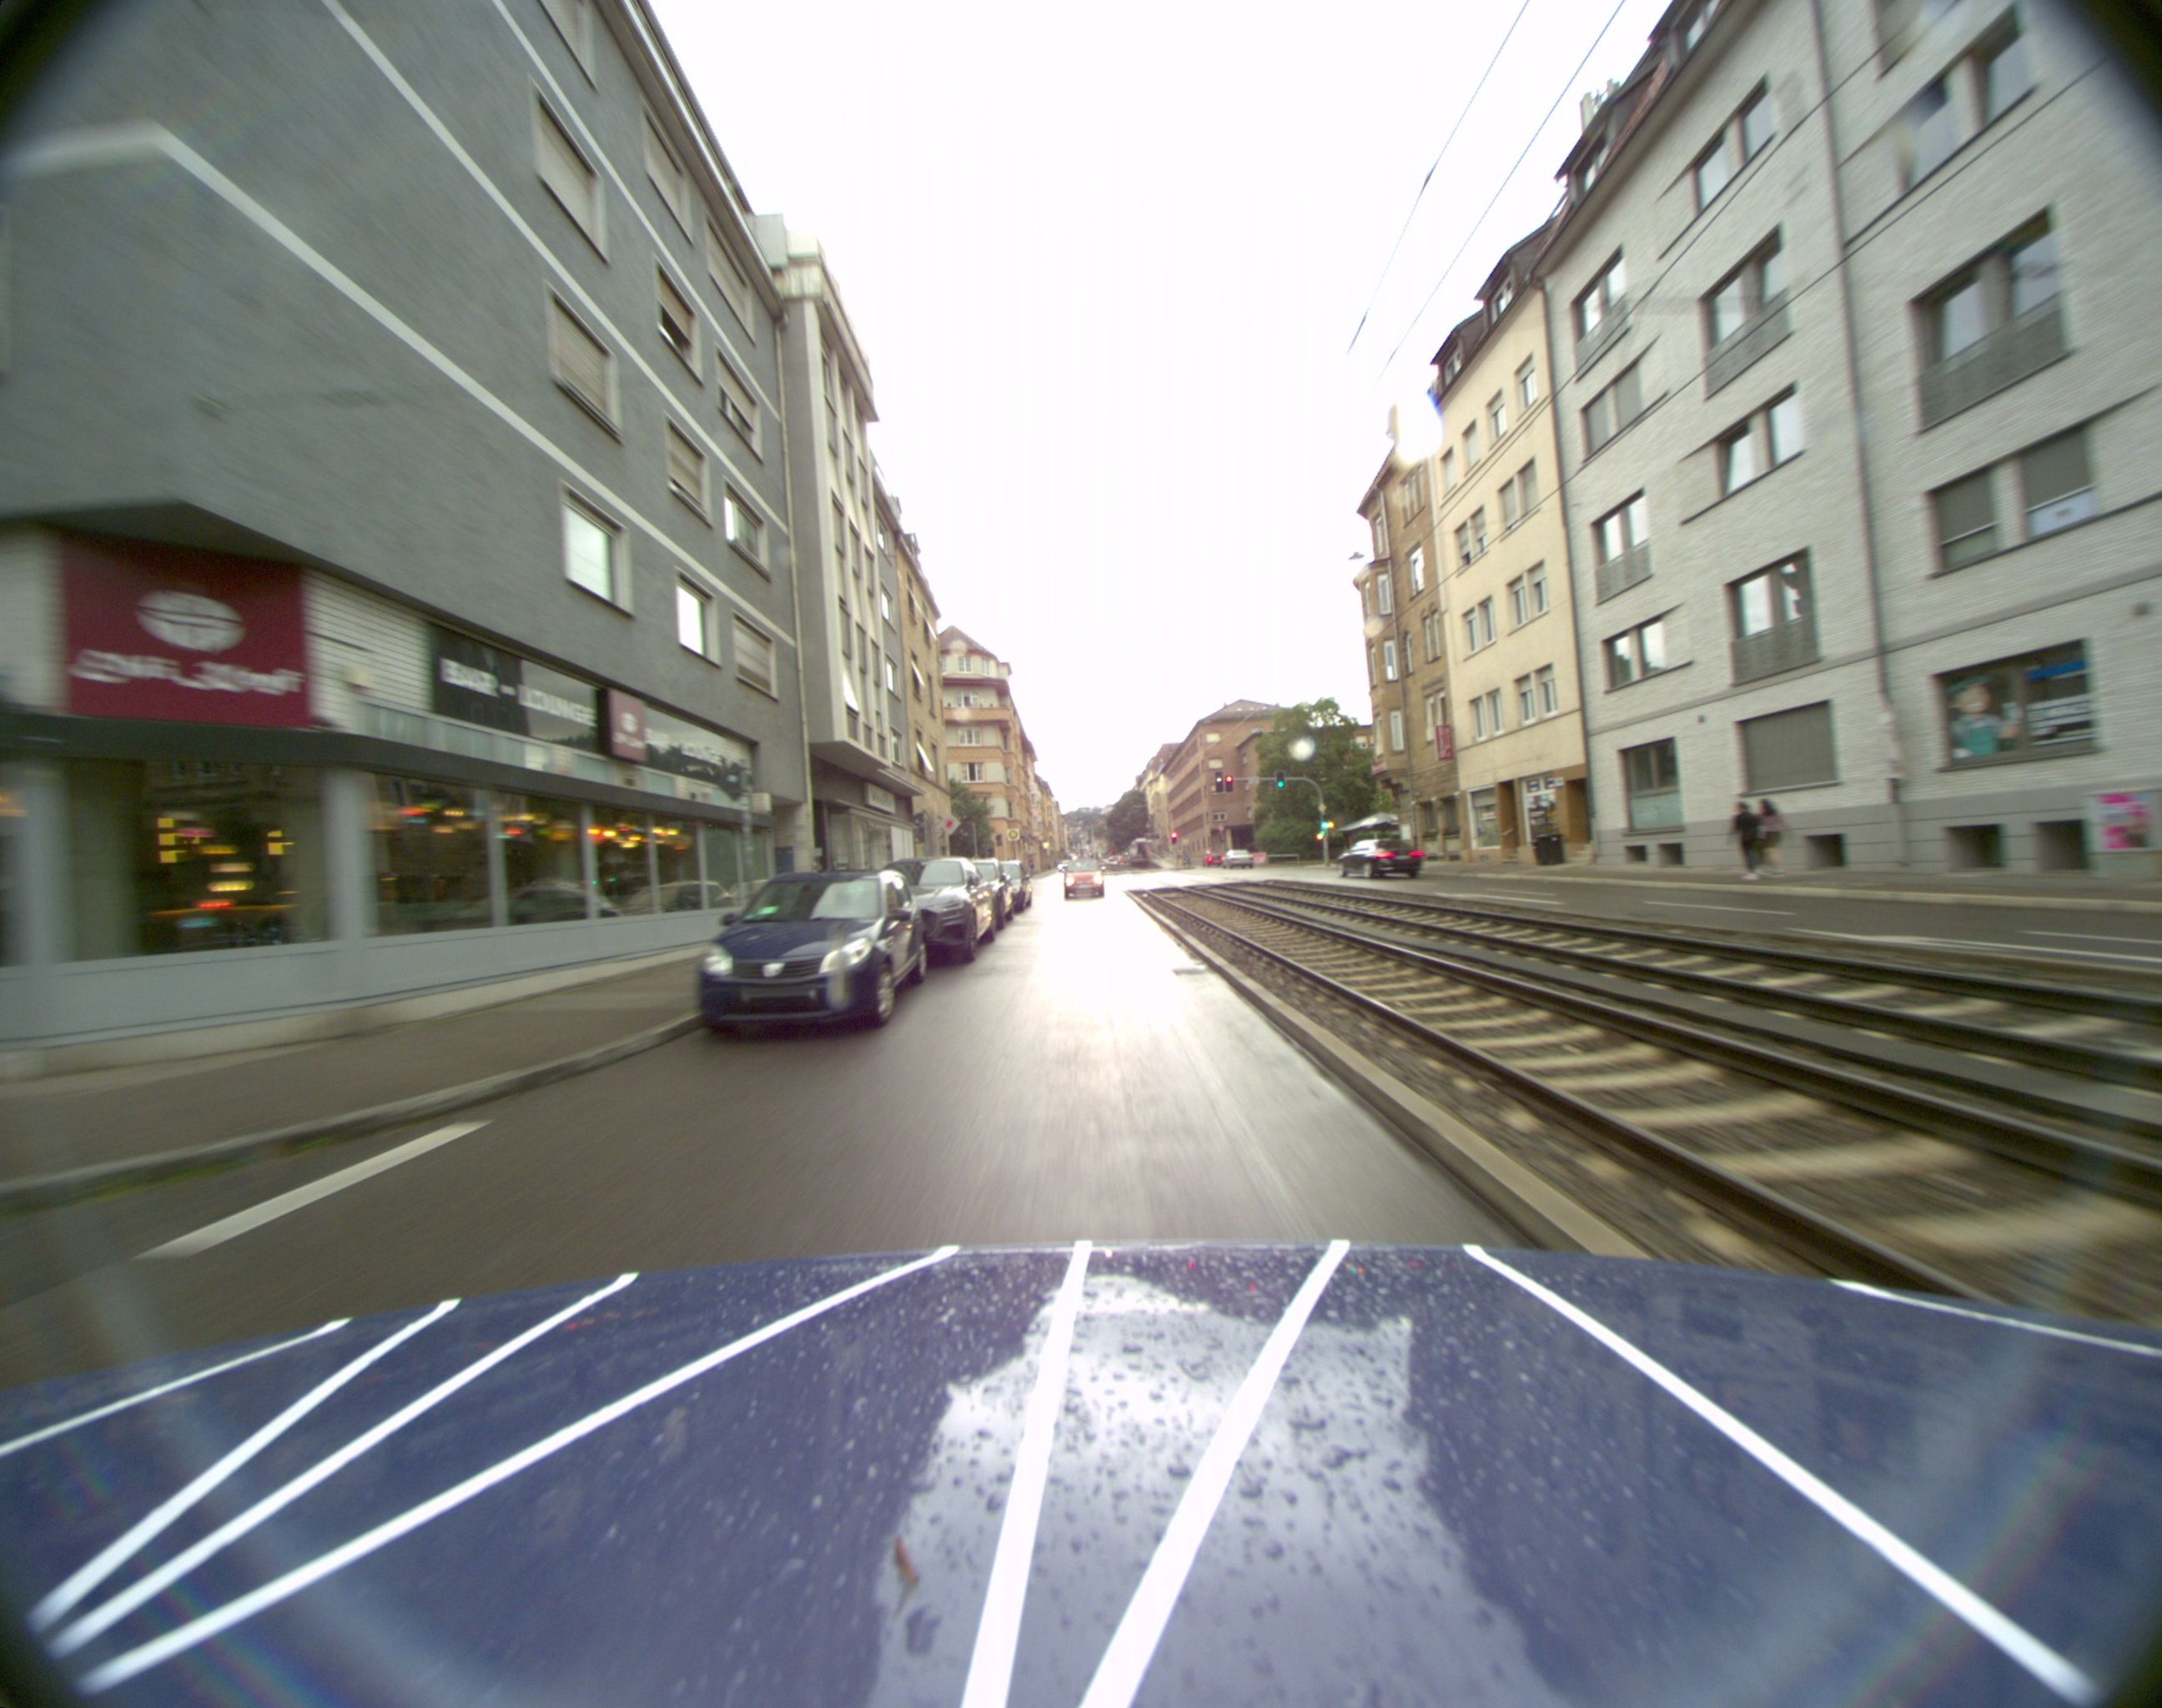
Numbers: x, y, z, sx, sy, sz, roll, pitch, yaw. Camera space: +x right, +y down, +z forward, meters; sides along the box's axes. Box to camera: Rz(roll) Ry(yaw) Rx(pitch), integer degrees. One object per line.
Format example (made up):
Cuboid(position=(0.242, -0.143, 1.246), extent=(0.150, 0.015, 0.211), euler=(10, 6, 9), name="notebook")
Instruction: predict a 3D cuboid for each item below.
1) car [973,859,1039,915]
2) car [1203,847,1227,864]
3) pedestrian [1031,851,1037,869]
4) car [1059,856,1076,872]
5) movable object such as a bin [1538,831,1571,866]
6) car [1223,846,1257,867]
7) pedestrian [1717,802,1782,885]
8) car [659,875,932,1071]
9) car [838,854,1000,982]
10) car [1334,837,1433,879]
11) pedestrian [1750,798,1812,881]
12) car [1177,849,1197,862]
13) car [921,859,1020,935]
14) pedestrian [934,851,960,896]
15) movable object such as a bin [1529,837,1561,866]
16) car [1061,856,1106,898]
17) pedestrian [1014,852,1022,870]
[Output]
Cuboid(position=(-2.379, 0.994, 25.091), extent=(1.715, 1.604, 4.518), euler=(-2, 0, 0), name="car")
Cuboid(position=(12.449, 0.118, 70.743), extent=(1.631, 1.442, 3.387), euler=(-3, 0, 0), name="car")
Cuboid(position=(-4.212, 0.554, 68.614), extent=(0.437, 1.642, 0.579), euler=(-3, 1, -1), name="pedestrian")
Cuboid(position=(-1.887, 1.422, 106.886), extent=(2.135, 2.002, 4.328), euler=(-3, 0, 0), name="car")
Cuboid(position=(15.916, -0.173, 25.530), extent=(0.631, 1.074, 0.563), euler=(-8, 0, 0), name="movable object such as a bin")
Cuboid(position=(12.316, 0.185, 59.147), extent=(1.717, 1.452, 4.643), euler=(-3, 0, 1), name="car")
Cuboid(position=(14.610, -0.228, 16.616), extent=(0.603, 1.708, 0.746), euler=(-6, 0, 3), name="pedestrian")
Cuboid(position=(-2.769, 1.044, 8.326), extent=(1.696, 1.474, 3.928), euler=(-2, 0, -4), name="car")
Cuboid(position=(-2.577, 0.928, 13.257), extent=(1.797, 1.750, 4.566), euler=(-3, 0, -1), name="car")
Cuboid(position=(11.842, 0.139, 30.099), extent=(2.093, 1.449, 4.860), euler=(-2, 0, 2), name="car")
Cuboid(position=(15.261, -0.313, 16.581), extent=(0.603, 1.708, 0.658), euler=(-6, 0, 3), name="pedestrian")
Cuboid(position=(12.811, 0.175, 92.201), extent=(1.781, 1.328, 3.945), euler=(-3, 0, 0), name="car")
Cuboid(position=(-2.645, 0.974, 19.162), extent=(1.822, 1.645, 4.250), euler=(-2, 0, 0), name="car")
Cuboid(position=(-5.566, 0.808, 31.543), extent=(0.852, 1.807, 0.847), euler=(-2, 1, 0), name="pedestrian")
Cuboid(position=(15.995, -0.090, 26.215), extent=(0.631, 0.922, 0.563), euler=(-8, 0, 0), name="movable object such as a bin")
Cuboid(position=(0.094, 0.905, 31.435), extent=(1.683, 1.531, 4.018), euler=(-3, 0, 0), name="car")
Cuboid(position=(-5.375, 0.589, 64.741), extent=(0.579, 1.563, 0.438), euler=(-3, 1, -1), name="pedestrian")
